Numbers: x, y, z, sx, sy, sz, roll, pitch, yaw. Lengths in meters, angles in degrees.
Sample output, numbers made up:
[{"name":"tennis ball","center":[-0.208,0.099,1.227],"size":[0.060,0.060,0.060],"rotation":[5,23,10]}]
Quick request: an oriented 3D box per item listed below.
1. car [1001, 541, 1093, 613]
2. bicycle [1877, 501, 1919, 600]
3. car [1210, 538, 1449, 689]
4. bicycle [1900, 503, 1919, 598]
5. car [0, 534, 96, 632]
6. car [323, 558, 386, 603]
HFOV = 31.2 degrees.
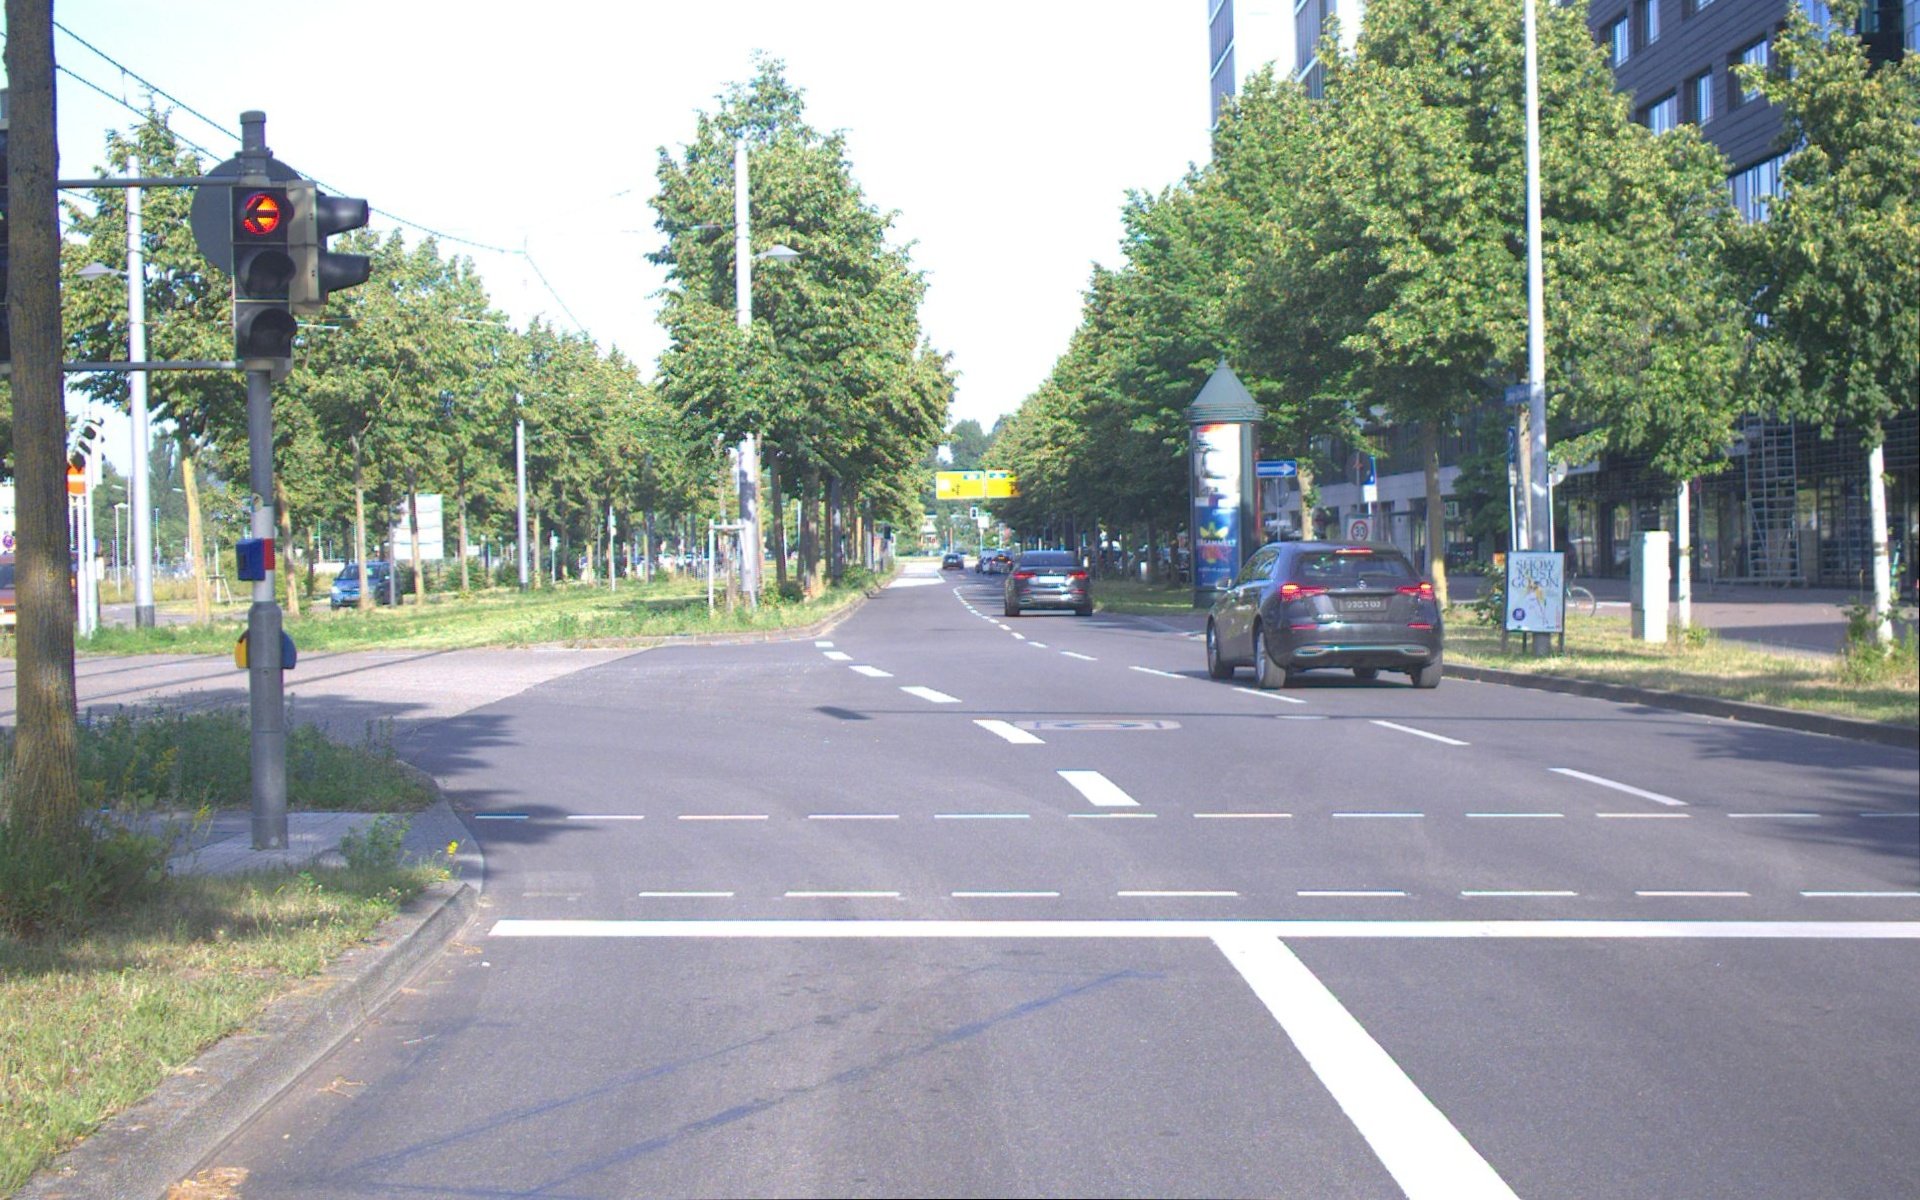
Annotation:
[{"name":"car","center":[1.872,-0.509,74.850],"size":[1.859,1.519,3.786],"rotation":[1,1,0]},{"name":"bicycle","center":[18.532,-0.913,64.393],"size":[2.565,1.851,0.569],"rotation":[1,0,9]},{"name":"car","center":[3.664,0.112,34.720],"size":[1.774,1.419,3.961],"rotation":[1,1,-3]},{"name":"bicycle","center":[18.577,-0.899,63.224],"size":[2.436,1.740,0.554],"rotation":[1,0,9]},{"name":"car","center":[-17.446,-0.333,64.589],"size":[1.684,1.769,3.883],"rotation":[1,1,-4]},{"name":"car","center":[-19.928,-0.642,113.198],"size":[1.638,1.438,3.957],"rotation":[1,1,-4]}]
